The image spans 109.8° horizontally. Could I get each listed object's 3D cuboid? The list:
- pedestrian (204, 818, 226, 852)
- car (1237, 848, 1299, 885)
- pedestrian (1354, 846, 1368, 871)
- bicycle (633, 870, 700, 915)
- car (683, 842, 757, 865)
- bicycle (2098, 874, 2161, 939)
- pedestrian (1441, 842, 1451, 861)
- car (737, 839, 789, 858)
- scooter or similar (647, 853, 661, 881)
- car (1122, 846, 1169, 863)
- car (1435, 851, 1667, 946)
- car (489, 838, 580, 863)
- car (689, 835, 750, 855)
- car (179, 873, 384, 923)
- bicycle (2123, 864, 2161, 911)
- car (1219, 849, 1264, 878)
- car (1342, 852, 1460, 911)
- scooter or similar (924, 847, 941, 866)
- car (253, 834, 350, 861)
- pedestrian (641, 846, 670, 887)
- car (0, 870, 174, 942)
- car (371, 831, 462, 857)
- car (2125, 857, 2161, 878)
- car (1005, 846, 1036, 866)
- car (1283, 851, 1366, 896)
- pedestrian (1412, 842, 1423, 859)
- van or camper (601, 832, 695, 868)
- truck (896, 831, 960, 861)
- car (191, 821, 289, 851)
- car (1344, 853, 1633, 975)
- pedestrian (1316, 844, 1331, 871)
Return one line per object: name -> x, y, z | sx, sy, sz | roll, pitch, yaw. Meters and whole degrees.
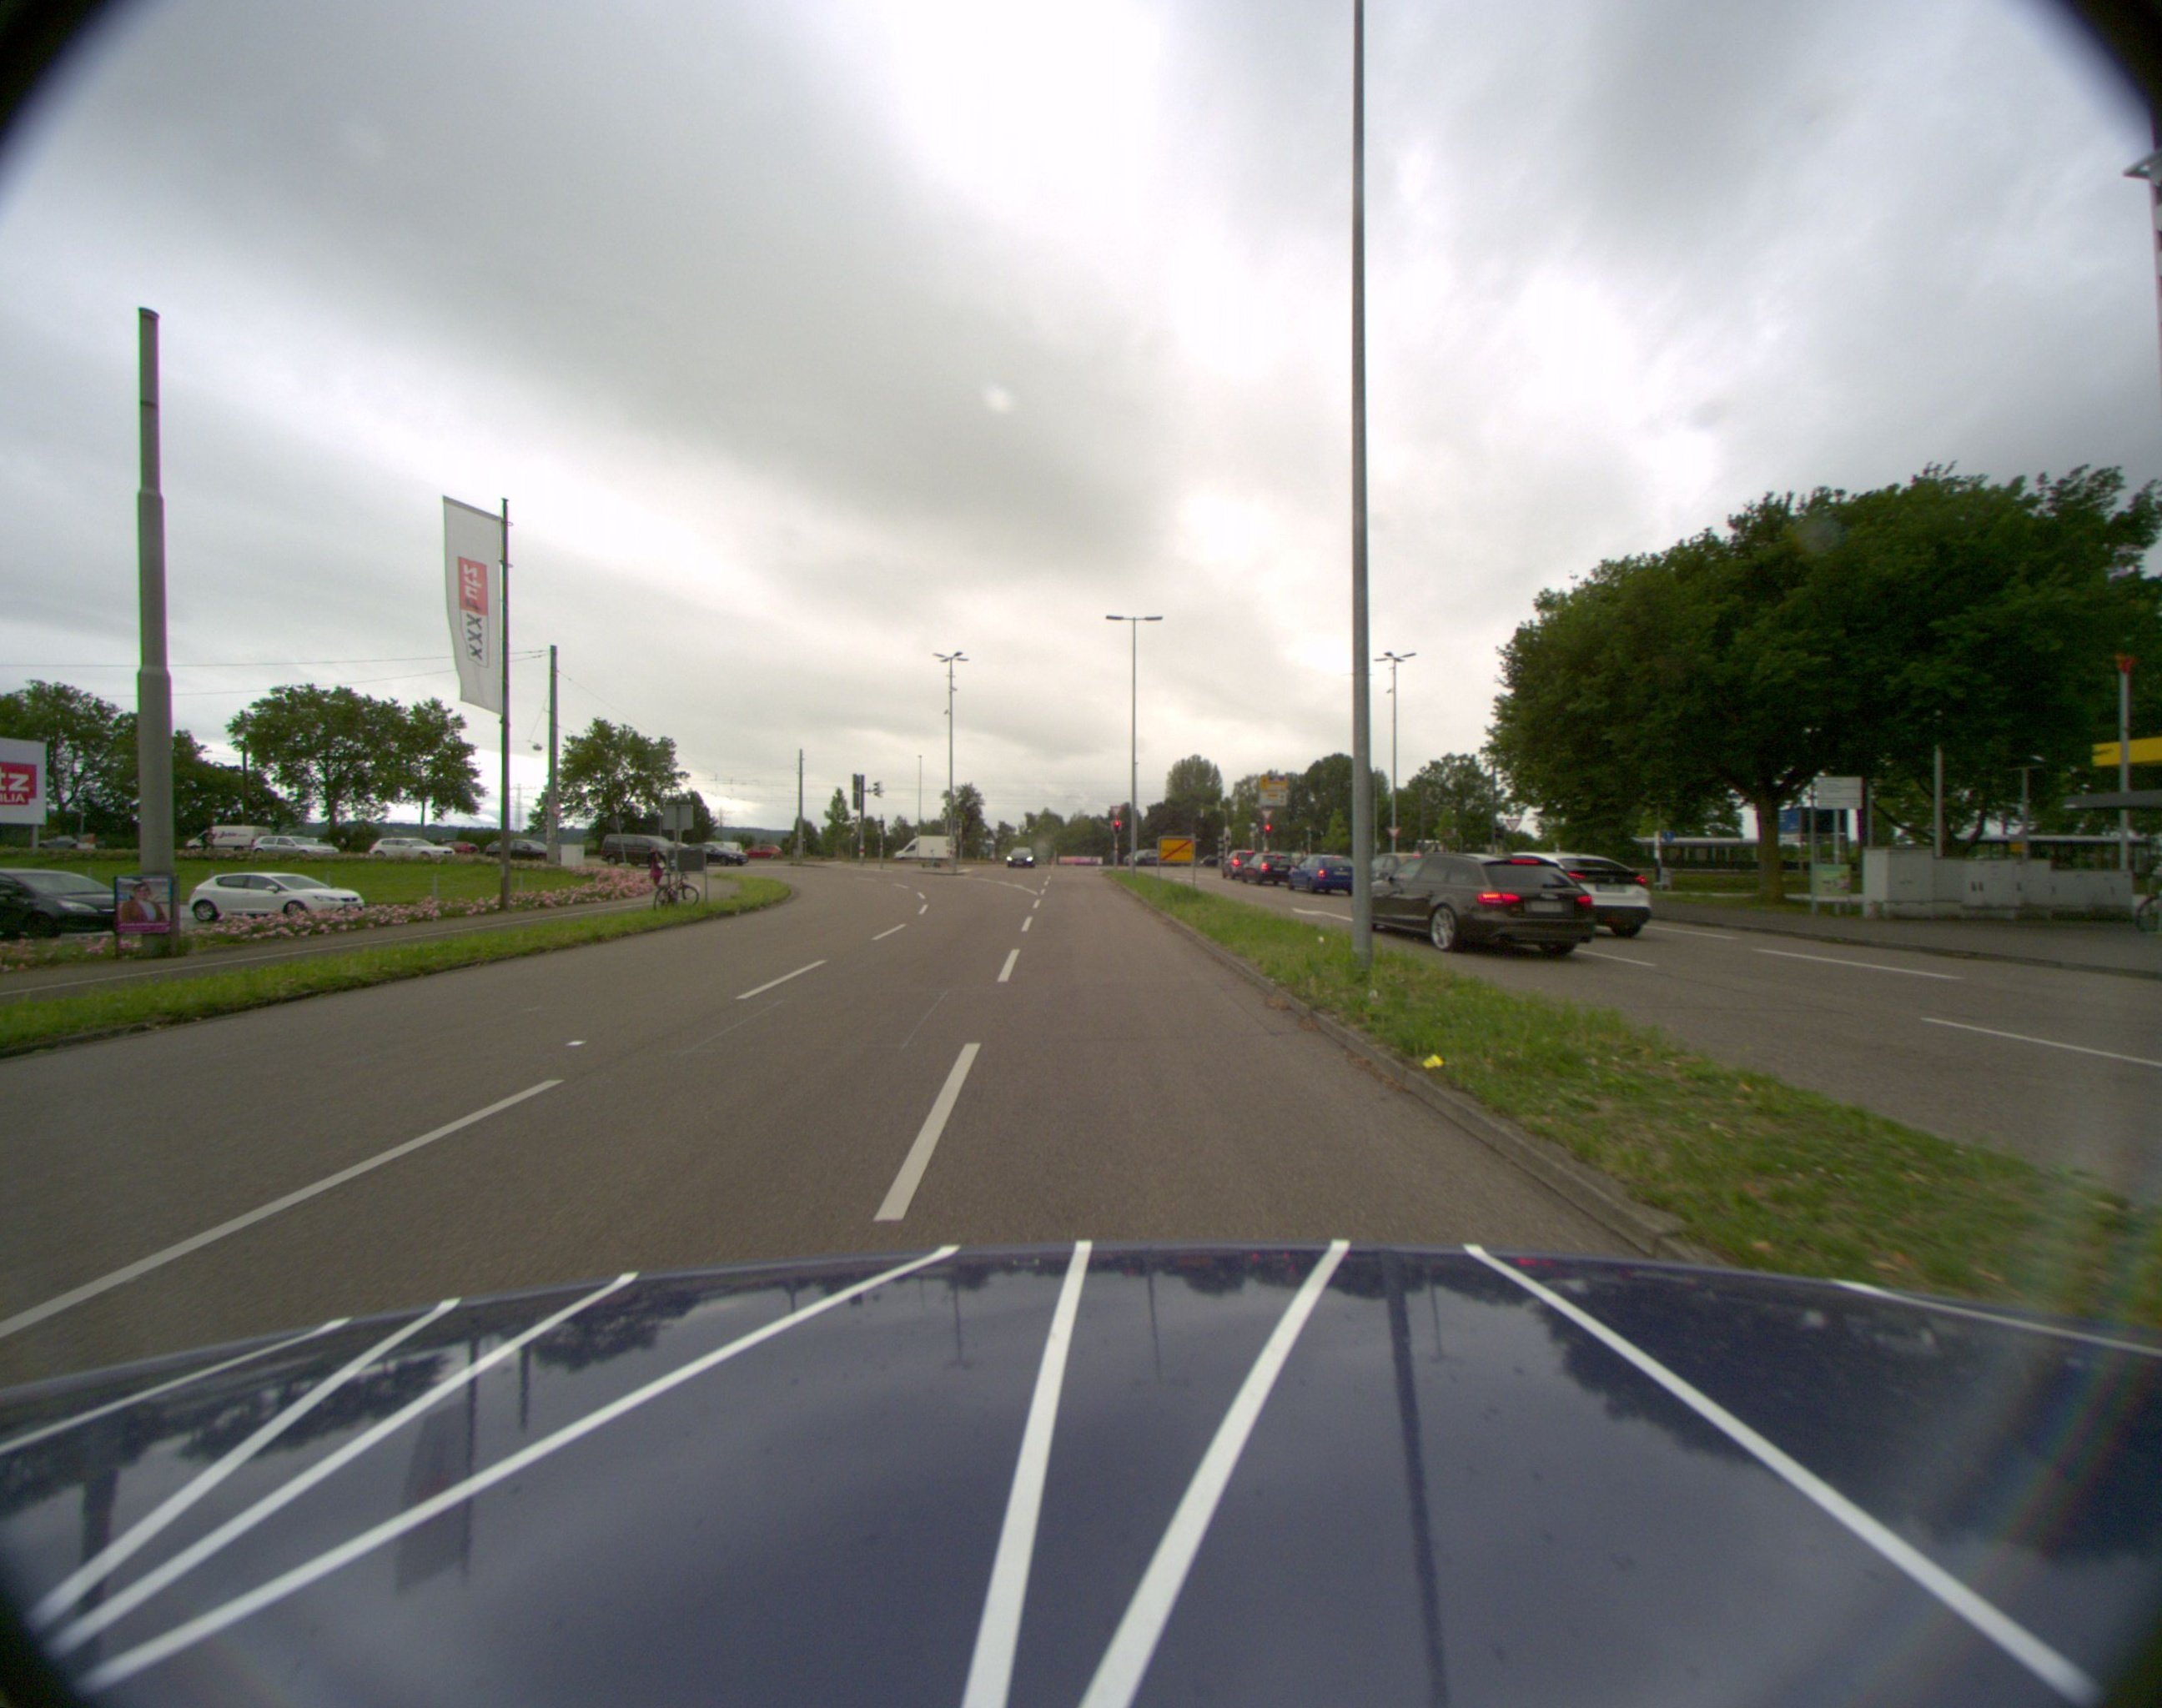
pedestrian -> -46.710, -1.006, 40.988 | 0.636, 1.771, 0.545 | 1, -1, -36
car -> 8.438, 0.536, 34.599 | 1.666, 1.494, 4.064 | 2, 1, -1
pedestrian -> 19.503, 0.297, 52.920 | 0.675, 1.702, 0.766 | 0, 1, 3
bicycle -> -10.630, 0.956, 19.551 | 0.664, 1.042, 1.692 | 0, 1, 6
car -> -23.975, -0.060, 50.495 | 4.200, 1.455, 1.839 | 0, 1, 12
bicycle -> 20.162, 0.956, 14.015 | 2.021, 1.150, 0.593 | 0, 1, -1
pedestrian -> 35.112, -0.243, 73.128 | 0.586, 1.731, 0.788 | 0, -1, 1
car -> -30.350, -0.517, 72.602 | 4.250, 1.641, 1.783 | 1, -1, -11
scooter or similar -> -19.157, 0.586, 34.074 | 0.347, 1.226, 1.161 | -3, 3, -39
car -> 5.964, 0.080, 70.317 | 4.381, 1.400, 1.673 | 1, -2, -39
car -> 9.004, 0.754, 15.066 | 1.936, 1.510, 4.181 | 1, 1, 0
car -> -33.771, -0.226, 47.031 | 4.317, 1.455, 1.969 | 1, 0, 4
car -> -36.154, -0.869, 76.127 | 5.122, 1.868, 2.099 | 1, -1, -12
car -> -24.100, 1.301, 23.040 | 4.118, 1.437, 1.876 | 0, -2, -2
bicycle -> 28.629, 0.850, 19.875 | 2.021, 1.150, 0.593 | -2, 1, -2
car -> 8.449, 0.469, 40.197 | 1.607, 1.494, 3.209 | 0, 0, -2
car -> 9.148, 0.730, 22.095 | 1.607, 1.489, 4.036 | 2, 0, -1
scooter or similar -> -9.944, 0.157, 50.936 | 1.113, 1.249, 0.321 | 1, 3, 13
car -> -48.333, -0.361, 47.163 | 4.073, 1.592, 1.747 | 0, -1, -3
pedestrian -> -16.975, 0.477, 30.312 | 0.716, 1.589, 0.783 | 0, 3, -4
car -> -24.186, 1.174, 17.562 | 4.104, 1.574, 1.769 | 0, -1, -4
car -> -41.201, -0.616, 47.181 | 4.043, 1.529, 1.734 | 1, -1, -1
car -> 83.142, 1.015, 58.035 | 4.408, 1.576, 1.892 | 0, 1, -3
car -> -4.321, 0.111, 54.761 | 1.999, 1.383, 4.342 | 0, 1, -2
car -> 8.946, 0.668, 28.254 | 1.607, 1.436, 4.142 | 2, 1, -1
pedestrian -> 32.191, -0.312, 72.690 | 0.632, 1.550, 0.711 | 0, -1, 1
van or camper -> -26.045, -0.280, 45.764 | 4.743, 2.003, 2.125 | 2, 3, 15
truck -> -16.139, -0.825, 80.369 | 6.545, 2.905, 2.826 | 1, -1, -11
car -> -79.950, -1.676, 72.294 | 5.898, 2.610, 2.664 | 1, -1, -6
car -> 5.879, 0.760, 11.740 | 1.888, 1.428, 4.429 | 1, 1, -3
pedestrian -> 16.033, 0.221, 50.244 | 0.664, 1.756, 0.686 | 2, 4, -4
